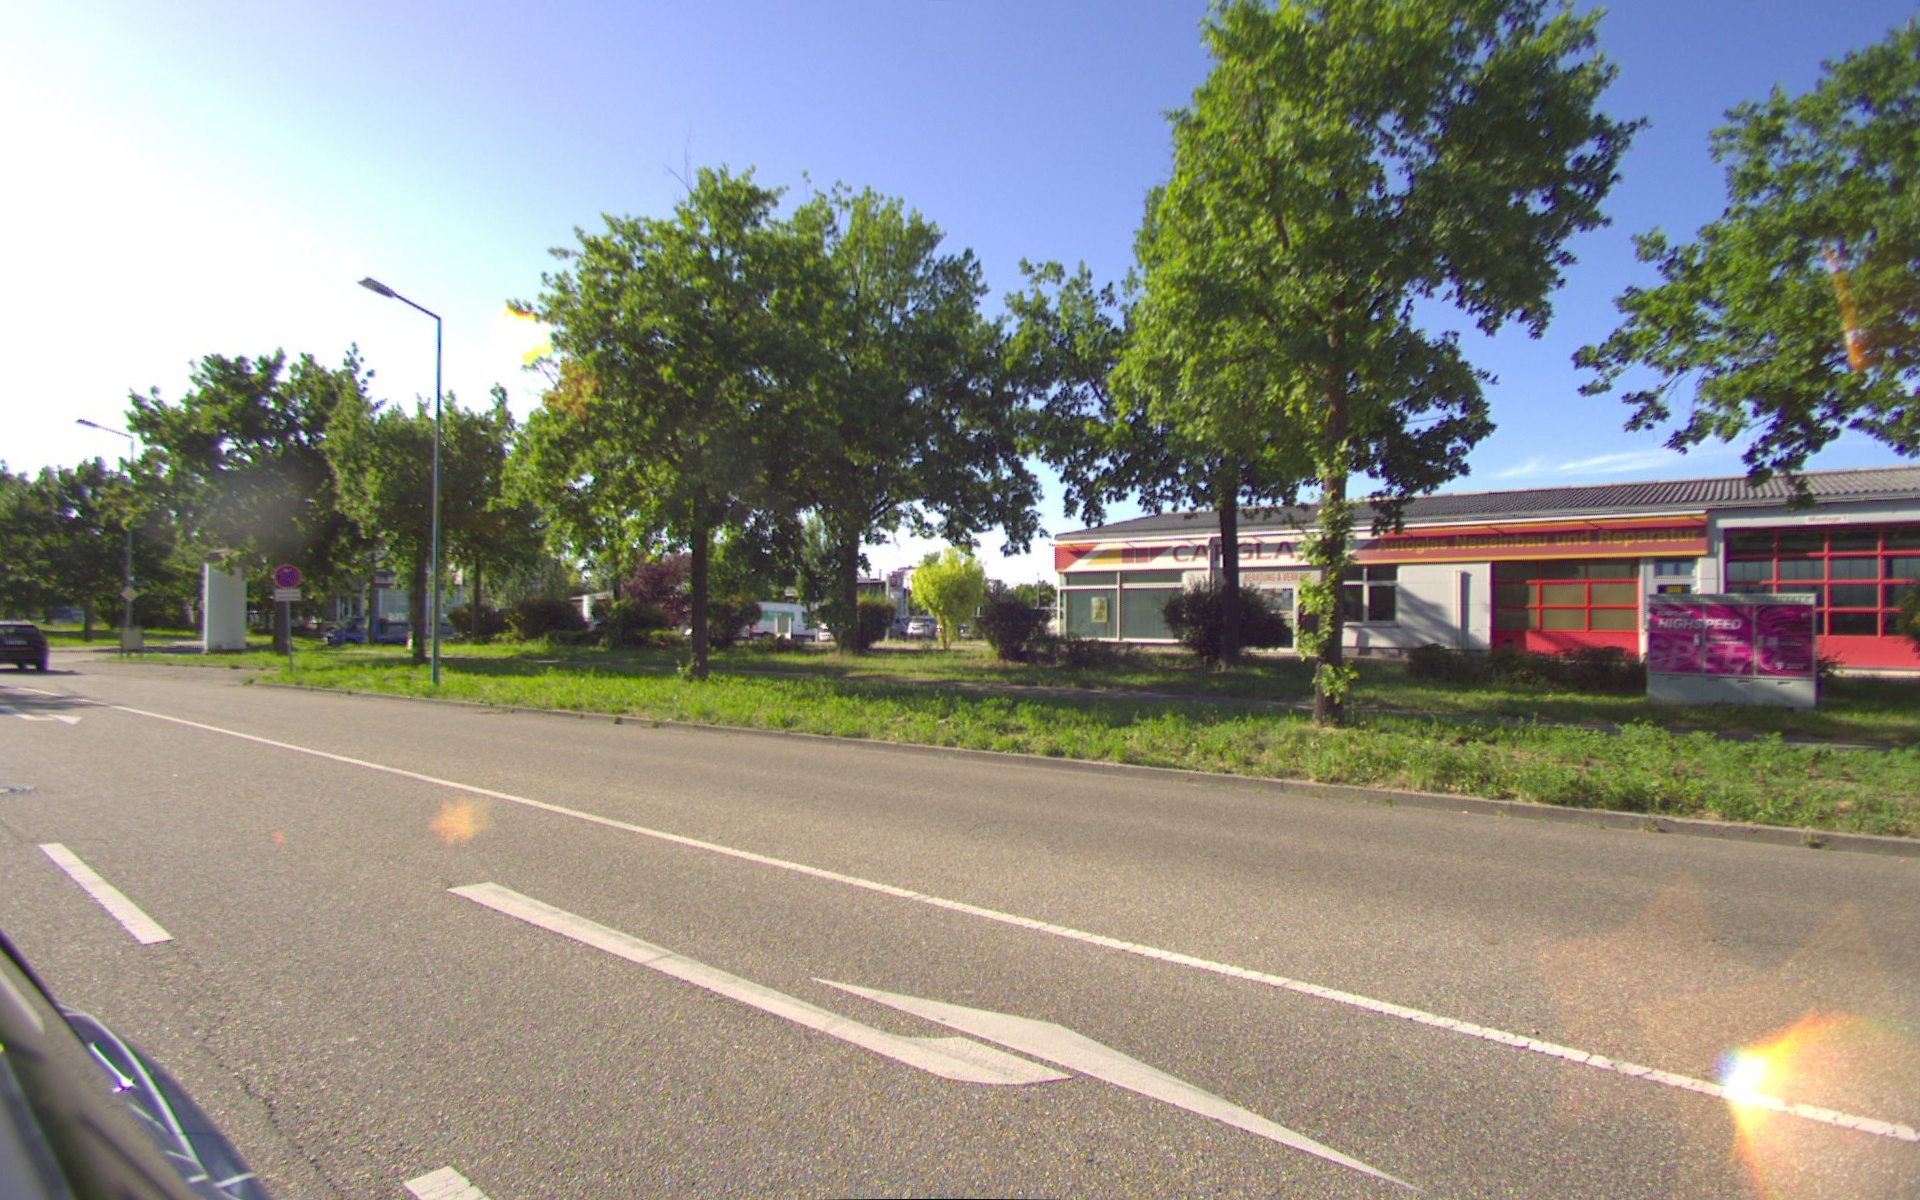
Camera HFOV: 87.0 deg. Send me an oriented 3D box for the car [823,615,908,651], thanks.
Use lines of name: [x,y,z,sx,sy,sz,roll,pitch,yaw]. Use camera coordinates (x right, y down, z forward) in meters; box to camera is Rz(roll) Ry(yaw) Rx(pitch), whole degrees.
car: [-5.150,1.767,55.790,1.989,1.795,4.583,-1,0,40]

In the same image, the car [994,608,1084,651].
car: [3.208,1.156,40.605,1.734,1.583,3.769,-3,-1,40]

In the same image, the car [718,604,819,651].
car: [-11.457,1.597,61.001,2.406,2.574,5.952,-1,0,36]

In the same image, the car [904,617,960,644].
car: [-1.876,2.051,68.624,1.761,1.684,3.811,-1,0,40]

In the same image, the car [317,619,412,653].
car: [-35.976,2.152,61.234,1.999,1.847,4.578,-1,0,41]

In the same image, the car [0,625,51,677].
car: [-29.660,1.522,31.108,4.073,1.537,1.746,-1,-3,37]
